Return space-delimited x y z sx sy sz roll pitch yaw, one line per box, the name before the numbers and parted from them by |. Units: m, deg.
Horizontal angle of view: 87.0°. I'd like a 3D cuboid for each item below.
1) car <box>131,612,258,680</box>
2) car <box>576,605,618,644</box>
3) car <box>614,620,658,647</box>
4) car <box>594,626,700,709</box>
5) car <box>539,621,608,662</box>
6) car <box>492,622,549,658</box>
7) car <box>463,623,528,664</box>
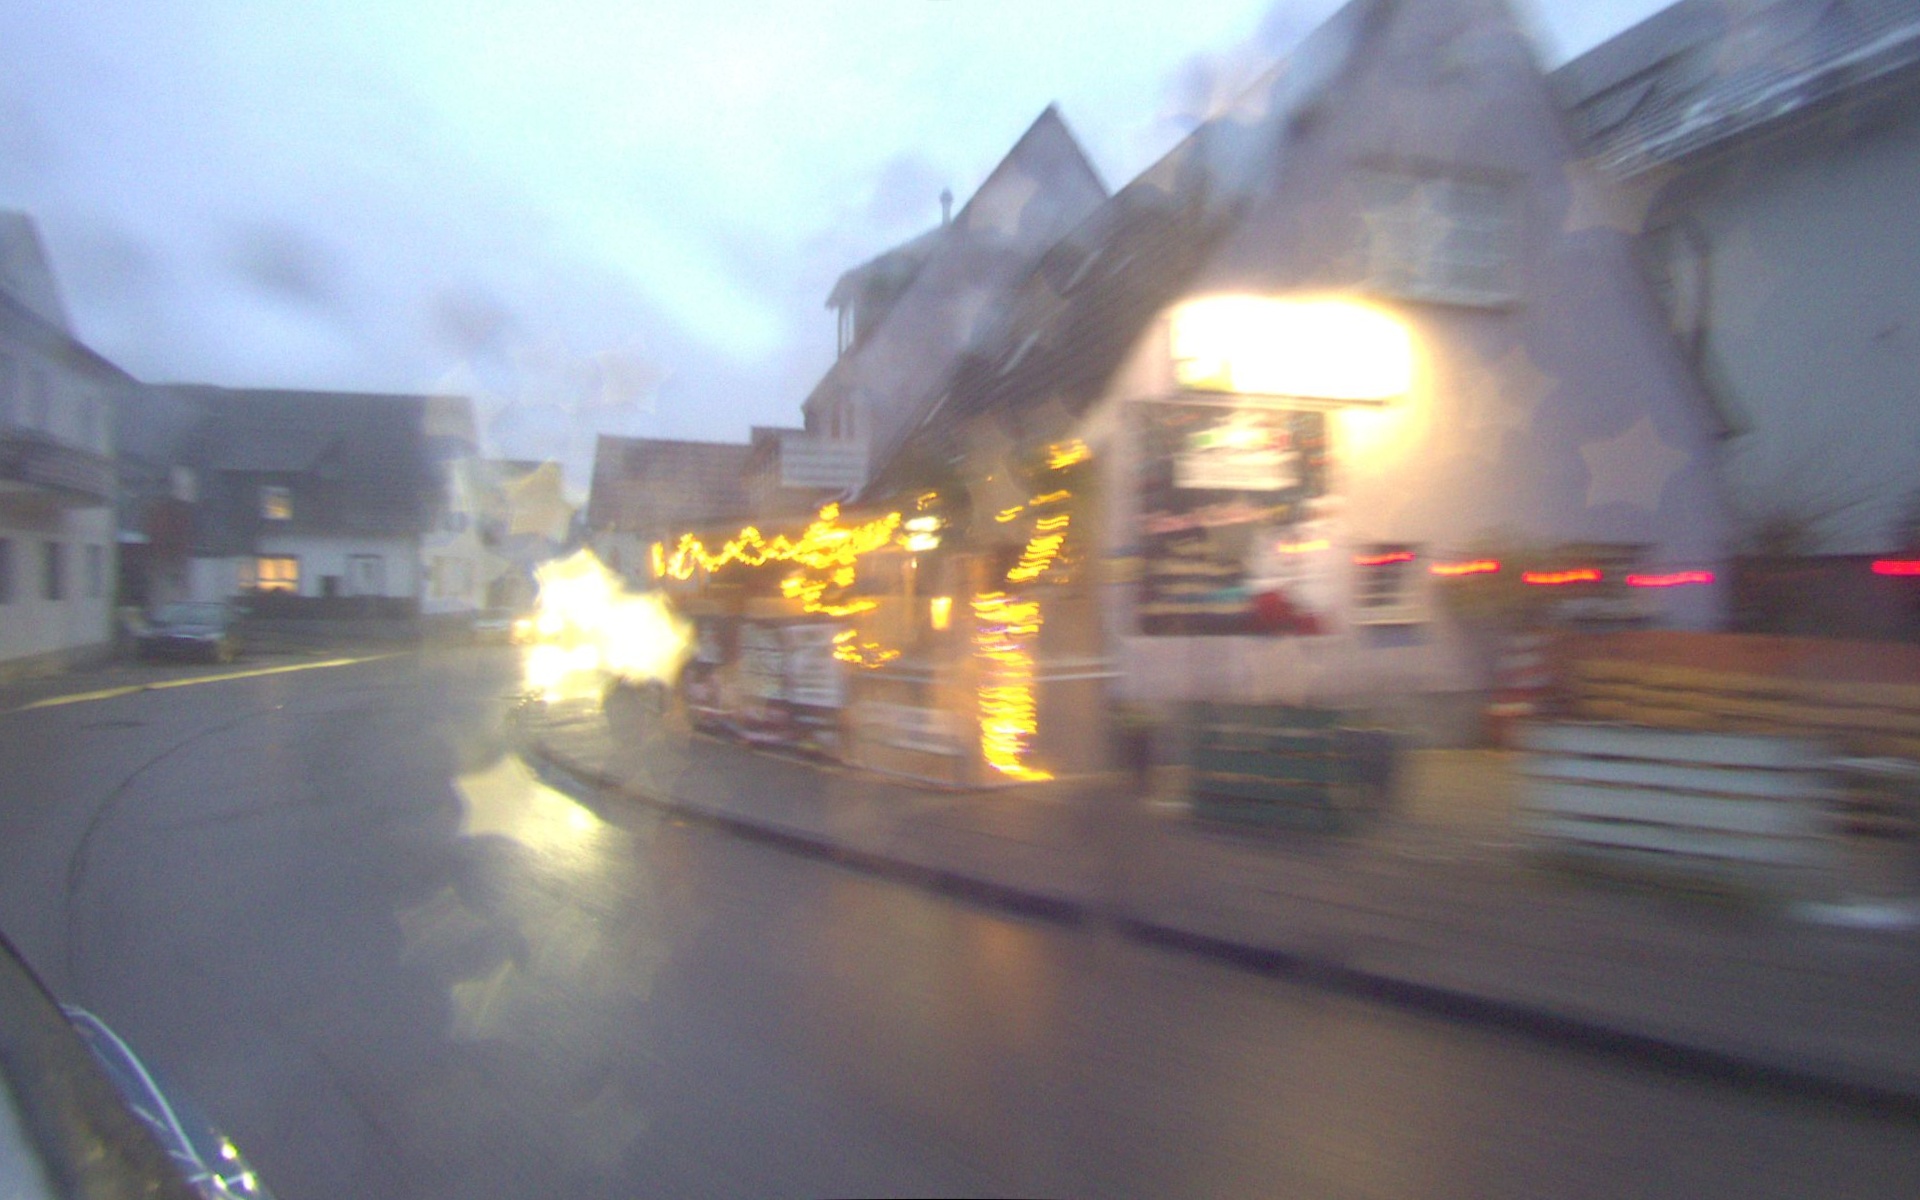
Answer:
car | -19.816 1.155 26.406 1.781 1.498 4.292 3 -1 -26
car | -24.671 1.645 68.938 1.982 2.472 5.629 -1 -1 -13
car | -19.815 2.027 62.030 1.960 1.569 4.245 0 -1 -10
car | -6.343 1.316 20.866 1.598 1.432 3.811 -1 0 -10
car | -16.112 1.695 42.352 1.960 1.569 4.245 0 -1 -10
car | -19.927 1.794 46.021 1.616 1.482 4.010 -1 0 -13
car | -18.851 1.721 41.192 1.616 1.505 4.010 -1 0 -13
